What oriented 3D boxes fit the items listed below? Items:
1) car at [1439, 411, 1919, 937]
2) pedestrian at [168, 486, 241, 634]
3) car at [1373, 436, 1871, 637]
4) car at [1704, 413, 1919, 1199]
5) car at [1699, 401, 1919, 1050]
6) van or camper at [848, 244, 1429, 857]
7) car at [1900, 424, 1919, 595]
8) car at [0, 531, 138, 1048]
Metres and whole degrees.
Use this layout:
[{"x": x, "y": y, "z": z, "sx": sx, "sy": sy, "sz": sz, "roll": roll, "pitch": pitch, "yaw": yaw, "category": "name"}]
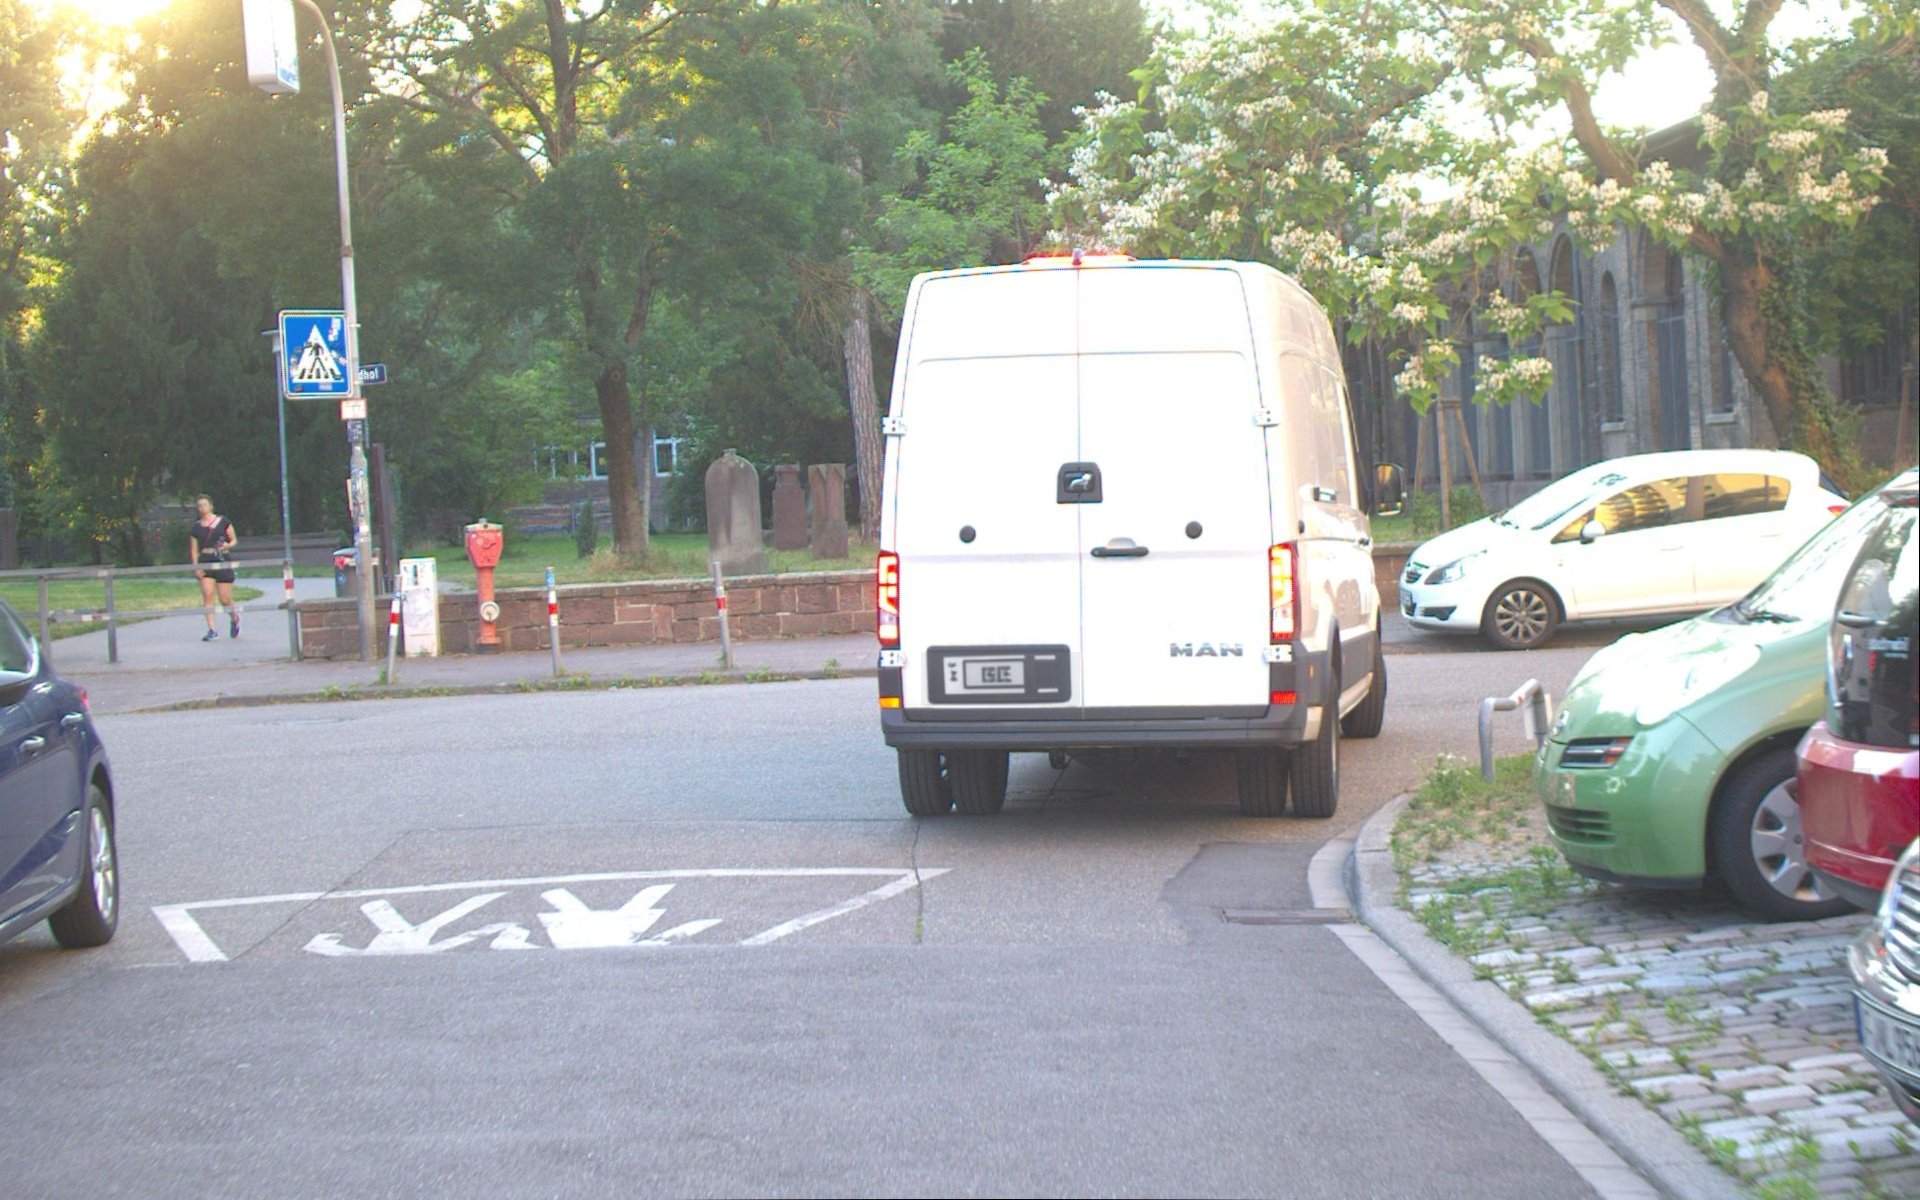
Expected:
[{"x": 4.101, "y": 0.134, "z": 12.139, "sx": 4.403, "sy": 1.626, "sz": 1.846, "roll": -4, "pitch": 0, "yaw": -3, "category": "car"}, {"x": -8.479, "y": -0.457, "z": 38.608, "sx": 0.646, "sy": 1.643, "sz": 0.674, "roll": -1, "pitch": 2, "yaw": -1, "category": "pedestrian"}, {"x": 5.687, "y": -0.572, "z": 29.871, "sx": 3.854, "sy": 1.568, "sz": 1.958, "roll": -2, "pitch": 2, "yaw": -3, "category": "car"}, {"x": 3.965, "y": 0.271, "z": 6.910, "sx": 4.403, "sy": 1.526, "sz": 1.846, "roll": -4, "pitch": 0, "yaw": -3, "category": "car"}, {"x": 4.523, "y": 0.061, "z": 9.582, "sx": 4.404, "sy": 1.625, "sz": 1.846, "roll": -6, "pitch": 2, "yaw": 1, "category": "car"}, {"x": 1.179, "y": -0.326, "z": 18.045, "sx": 1.994, "sy": 2.609, "sz": 6.400, "roll": 2, "pitch": 2, "yaw": 12, "category": "van or camper"}, {"x": 10.475, "y": -0.899, "z": 29.510, "sx": 4.293, "sy": 1.498, "sz": 1.823, "roll": -3, "pitch": 2, "yaw": 4, "category": "car"}, {"x": -3.915, "y": 0.638, "z": 11.139, "sx": 1.733, "sy": 1.562, "sz": 3.791, "roll": -4, "pitch": 2, "yaw": -4, "category": "car"}]
